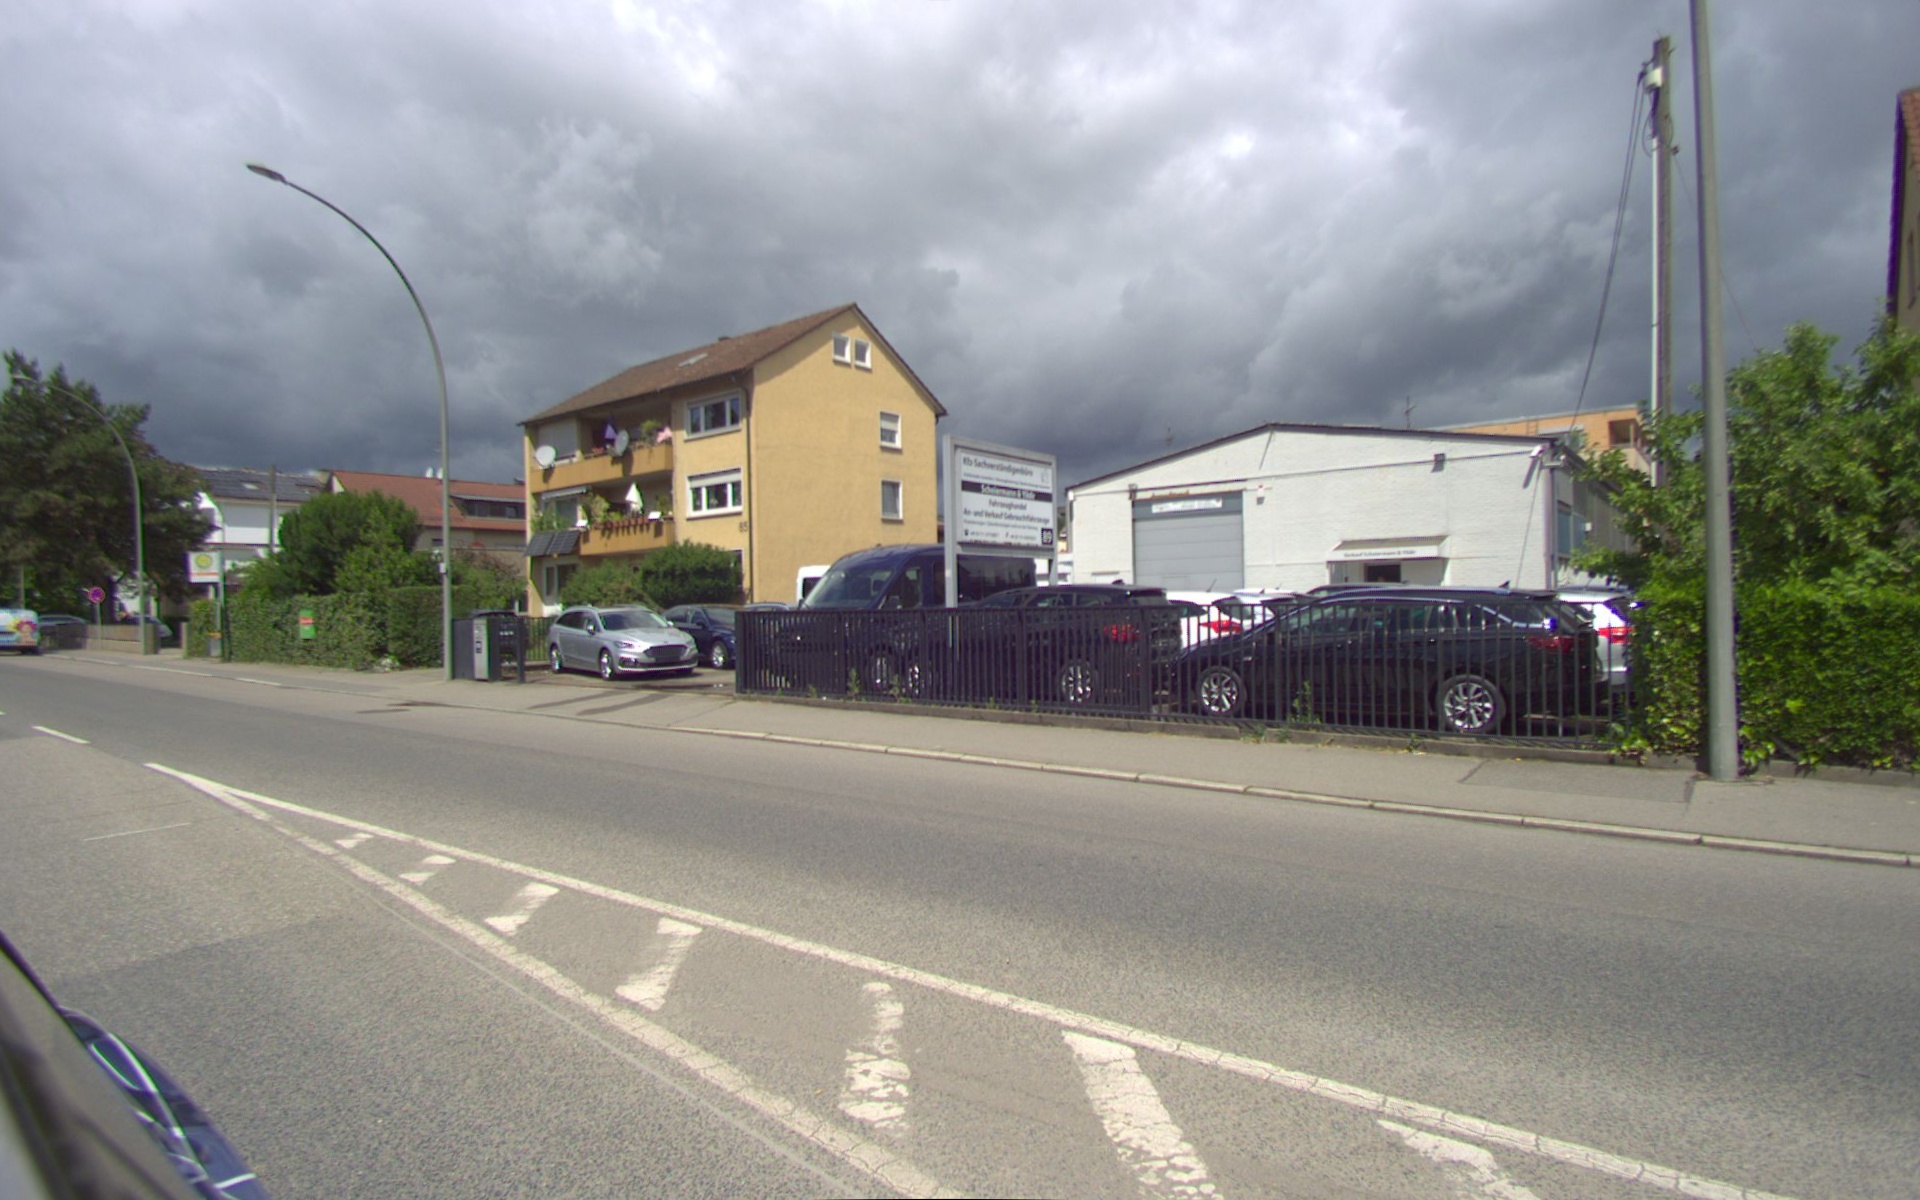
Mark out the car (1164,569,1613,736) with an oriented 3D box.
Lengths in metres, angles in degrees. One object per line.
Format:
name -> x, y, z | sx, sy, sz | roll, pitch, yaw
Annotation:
car -> 4.714, 0.518, 11.360 | 4.260, 1.518, 2.133 | -1, -1, 37

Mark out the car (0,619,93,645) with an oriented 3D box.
car -> -60.767, 2.079, 66.876 | 1.970, 1.563, 4.960 | -1, 0, 38

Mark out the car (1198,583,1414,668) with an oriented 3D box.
car -> 7.228, 0.529, 21.272 | 3.990, 1.630, 1.761 | -1, -1, 35

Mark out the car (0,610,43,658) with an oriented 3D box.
car -> -39.563, 1.441, 41.742 | 4.891, 1.868, 1.815 | -2, -5, 40

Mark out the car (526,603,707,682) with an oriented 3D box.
car -> -7.589, 0.857, 21.985 | 1.968, 1.497, 5.349 | 0, -1, -40

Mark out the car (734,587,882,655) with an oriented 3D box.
car -> -3.973, 0.536, 25.901 | 1.821, 1.589, 4.338 | 0, -1, -39

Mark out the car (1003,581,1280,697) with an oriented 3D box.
car -> 2.834, 0.585, 16.135 | 3.990, 1.630, 1.761 | -1, -1, 35

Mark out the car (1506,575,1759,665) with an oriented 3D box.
car -> 13.210, 0.392, 20.092 | 3.990, 1.630, 1.761 | -1, -1, 35

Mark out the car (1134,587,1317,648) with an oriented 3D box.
car -> 8.046, 0.553, 30.916 | 4.998, 1.726, 2.030 | -1, -1, 37

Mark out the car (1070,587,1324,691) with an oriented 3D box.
car -> 4.128, 0.650, 17.828 | 3.990, 1.630, 1.761 | -1, -1, 35

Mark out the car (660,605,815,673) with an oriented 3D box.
car -> -5.320, 0.863, 23.839 | 1.821, 1.437, 4.338 | 0, -1, -39

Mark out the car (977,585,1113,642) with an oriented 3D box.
car -> 2.813, 0.456, 34.143 | 4.328, 1.805, 1.826 | -1, -1, 41

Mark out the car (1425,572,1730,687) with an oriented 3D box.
car -> 9.828, 0.454, 16.259 | 3.994, 1.630, 1.759 | -1, -1, 38

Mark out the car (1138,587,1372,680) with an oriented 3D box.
car -> 5.668, 0.619, 19.606 | 3.990, 1.630, 1.761 | -1, -1, 35

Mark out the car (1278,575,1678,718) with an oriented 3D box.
car -> 6.533, 0.531, 12.930 | 4.260, 1.518, 2.134 | -1, -1, 37

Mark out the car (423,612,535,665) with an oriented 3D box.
car -> -14.403, 1.113, 30.179 | 1.823, 1.437, 4.335 | 0, -1, -43

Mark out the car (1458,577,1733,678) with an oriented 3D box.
car -> 11.295, 0.476, 18.183 | 3.990, 1.630, 1.761 | -1, -1, 35

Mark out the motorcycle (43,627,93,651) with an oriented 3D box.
motorcycle -> -46.816, 2.042, 53.140 | 1.845, 1.174, 0.827 | 0, -1, -34

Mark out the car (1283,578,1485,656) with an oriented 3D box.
car -> 9.682, 0.395, 23.202 | 3.990, 1.630, 1.761 | -1, -1, 35

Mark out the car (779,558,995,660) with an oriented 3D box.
car -> -2.133, 0.293, 27.891 | 6.134, 2.514, 2.386 | -1, -3, 43

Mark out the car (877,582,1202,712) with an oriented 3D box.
car -> 1.067, 0.623, 14.608 | 4.277, 1.607, 2.013 | -1, -1, 37

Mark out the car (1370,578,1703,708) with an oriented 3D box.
car -> 8.268, 0.579, 14.668 | 3.994, 1.630, 1.759 | -1, -1, 38

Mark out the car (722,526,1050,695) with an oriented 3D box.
car -> -1.085, 0.188, 18.231 | 2.475, 2.515, 5.977 | -1, -1, 39
